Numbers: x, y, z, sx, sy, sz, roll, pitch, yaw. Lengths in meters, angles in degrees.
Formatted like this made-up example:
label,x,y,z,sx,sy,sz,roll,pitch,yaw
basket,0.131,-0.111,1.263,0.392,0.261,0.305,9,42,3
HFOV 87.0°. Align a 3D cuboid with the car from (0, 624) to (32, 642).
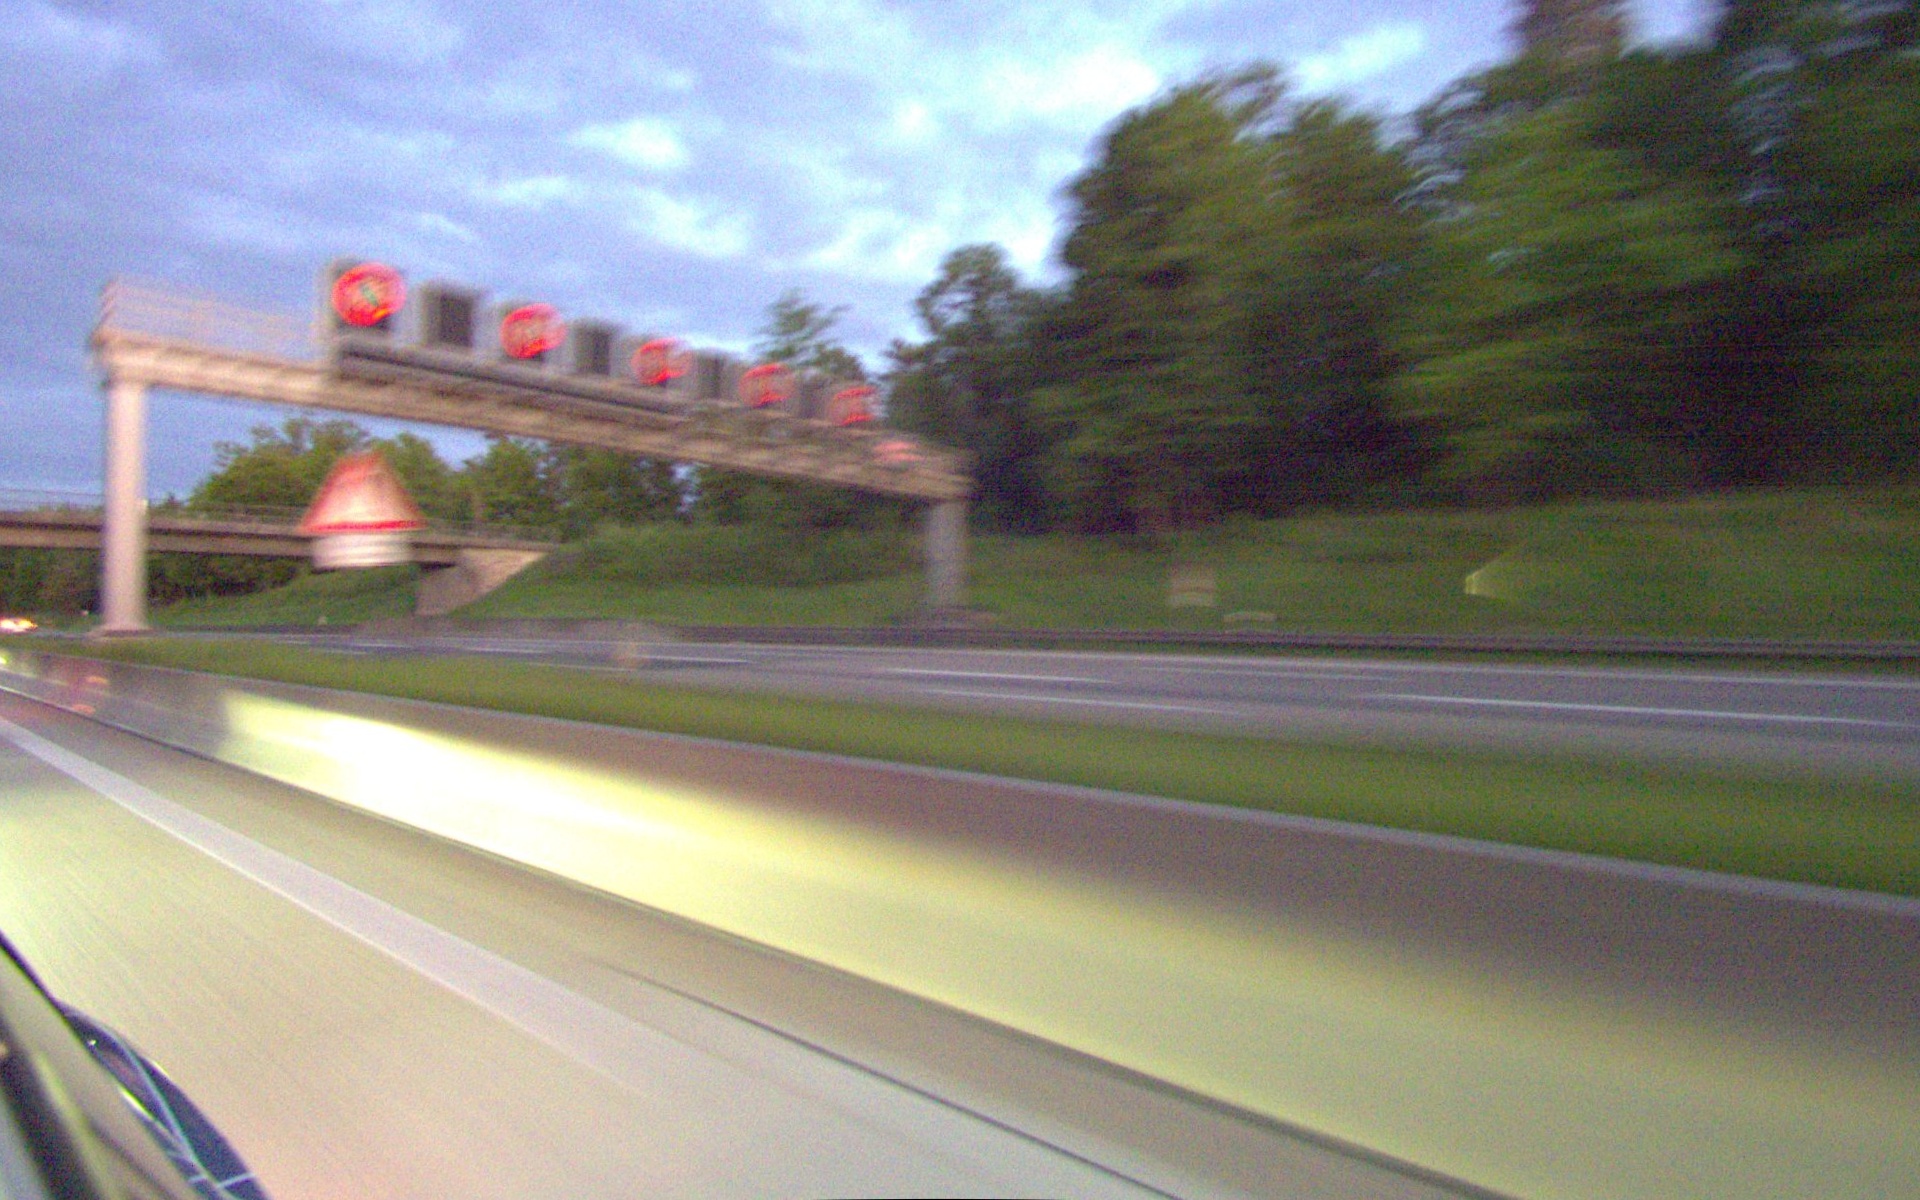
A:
label,x,y,z,sx,sy,sz,roll,pitch,yaw
car,-85.404,3.012,91.348,4.424,1.532,1.793,-2,-2,39
